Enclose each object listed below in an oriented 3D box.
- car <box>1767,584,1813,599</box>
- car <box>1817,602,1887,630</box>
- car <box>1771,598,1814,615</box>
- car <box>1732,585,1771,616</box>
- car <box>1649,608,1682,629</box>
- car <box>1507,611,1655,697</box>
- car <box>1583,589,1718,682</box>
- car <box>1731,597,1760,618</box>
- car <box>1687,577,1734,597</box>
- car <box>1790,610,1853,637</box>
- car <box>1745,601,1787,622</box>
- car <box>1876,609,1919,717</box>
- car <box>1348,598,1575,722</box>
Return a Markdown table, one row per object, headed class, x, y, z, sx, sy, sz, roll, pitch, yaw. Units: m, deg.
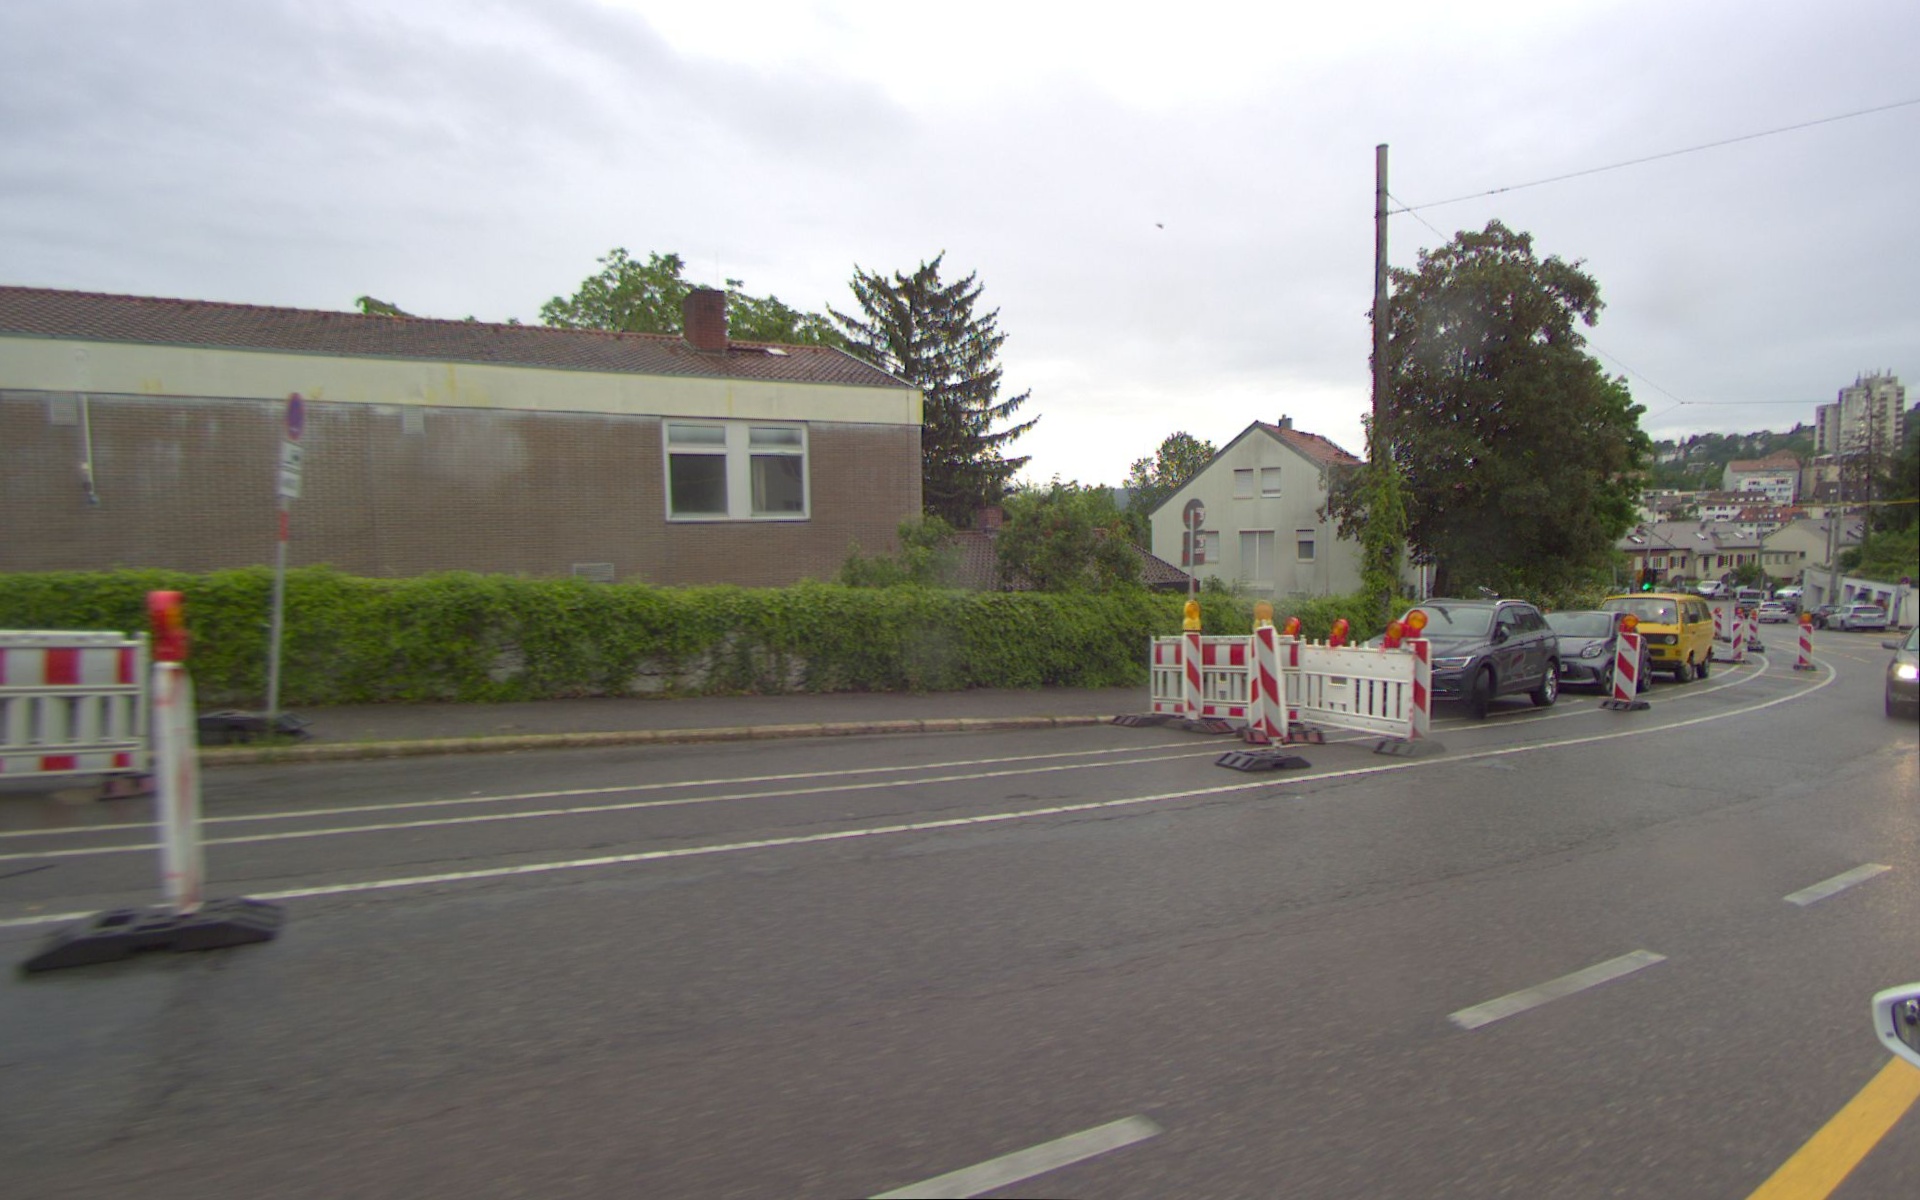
| class | x | y | z | sx | sy | sz | roll | pitch | yaw |
| --- | --- | --- | --- | --- | --- | --- | --- | --- | --- |
| car | 96.172 | -0.986 | 116.373 | 4.603 | 1.653 | 1.927 | 0 | 4 | -18 |
| car | 49.238 | 0.865 | 55.537 | 1.754 | 1.439 | 4.425 | -1 | 0 | 26 |
| car | 79.705 | 0.622 | 96.155 | 4.150 | 1.503 | 1.671 | 0 | 4 | -29 |
| car | 68.295 | -0.009 | 86.656 | 2.076 | 2.576 | 5.586 | 2 | 2 | 43 |
| car | 51.053 | 1.318 | 72.733 | 1.675 | 1.480 | 4.672 | -1 | 0 | 32 |
| car | 11.843 | 0.969 | 19.085 | 3.440 | 1.473 | 1.559 | 1 | -1 | -43 |
| car | 16.048 | 0.767 | 23.244 | 1.785 | 1.953 | 4.548 | -1 | -1 | 45 |
| car | 64.524 | 0.599 | 82.479 | 1.732 | 1.516 | 4.164 | 2 | 2 | 39 |
| car | 83.423 | -1.405 | 111.599 | 4.948 | 2.107 | 1.843 | 0 | 4 | -23 |
| car | 51.433 | 1.377 | 60.044 | 1.686 | 1.533 | 3.997 | 0 | 0 | 23 |
| car | 57.990 | 0.781 | 72.338 | 1.680 | 1.433 | 4.034 | 1 | 1 | 30 |
| car | 15.663 | 0.920 | 15.486 | 4.634 | 1.510 | 1.774 | 0 | 1 | -41 |
| car | 7.853 | 0.819 | 15.521 | 4.431 | 1.629 | 1.703 | 1 | 1 | -43 |
